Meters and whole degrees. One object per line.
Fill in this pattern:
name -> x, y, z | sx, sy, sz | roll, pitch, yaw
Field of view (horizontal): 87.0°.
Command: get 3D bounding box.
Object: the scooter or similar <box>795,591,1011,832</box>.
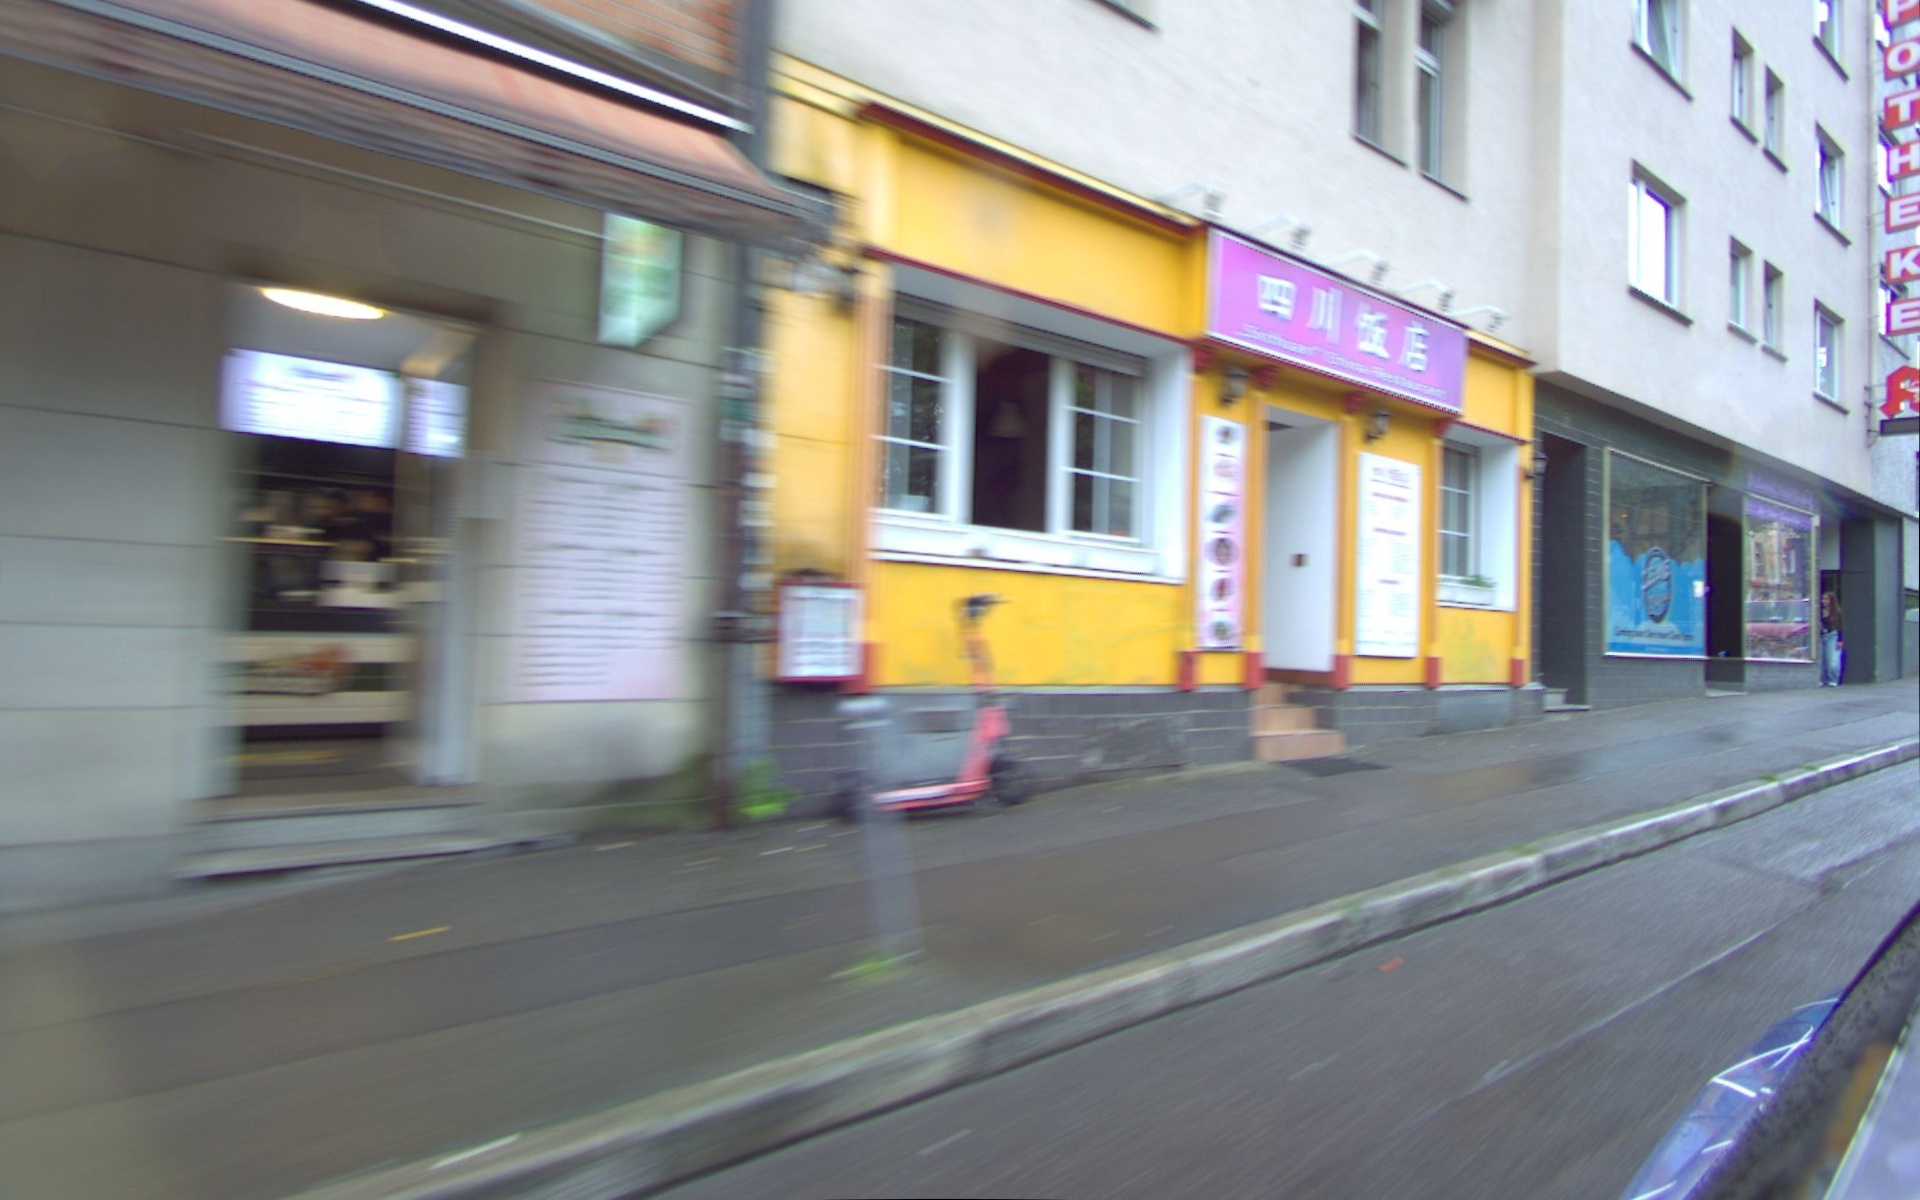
scooter or similar -> -0.295, 0.577, 5.568 | 1.170, 1.237, 0.258 | 1, -1, -26

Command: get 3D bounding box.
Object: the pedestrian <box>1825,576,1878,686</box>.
pedestrian -> 14.423, 0.491, 16.378 | 0.506, 1.742, 0.463 | 0, -1, -27

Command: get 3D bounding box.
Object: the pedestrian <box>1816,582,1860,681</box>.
pedestrian -> 14.951, 0.528, 17.234 | 0.478, 1.666, 0.328 | -1, -1, 28
